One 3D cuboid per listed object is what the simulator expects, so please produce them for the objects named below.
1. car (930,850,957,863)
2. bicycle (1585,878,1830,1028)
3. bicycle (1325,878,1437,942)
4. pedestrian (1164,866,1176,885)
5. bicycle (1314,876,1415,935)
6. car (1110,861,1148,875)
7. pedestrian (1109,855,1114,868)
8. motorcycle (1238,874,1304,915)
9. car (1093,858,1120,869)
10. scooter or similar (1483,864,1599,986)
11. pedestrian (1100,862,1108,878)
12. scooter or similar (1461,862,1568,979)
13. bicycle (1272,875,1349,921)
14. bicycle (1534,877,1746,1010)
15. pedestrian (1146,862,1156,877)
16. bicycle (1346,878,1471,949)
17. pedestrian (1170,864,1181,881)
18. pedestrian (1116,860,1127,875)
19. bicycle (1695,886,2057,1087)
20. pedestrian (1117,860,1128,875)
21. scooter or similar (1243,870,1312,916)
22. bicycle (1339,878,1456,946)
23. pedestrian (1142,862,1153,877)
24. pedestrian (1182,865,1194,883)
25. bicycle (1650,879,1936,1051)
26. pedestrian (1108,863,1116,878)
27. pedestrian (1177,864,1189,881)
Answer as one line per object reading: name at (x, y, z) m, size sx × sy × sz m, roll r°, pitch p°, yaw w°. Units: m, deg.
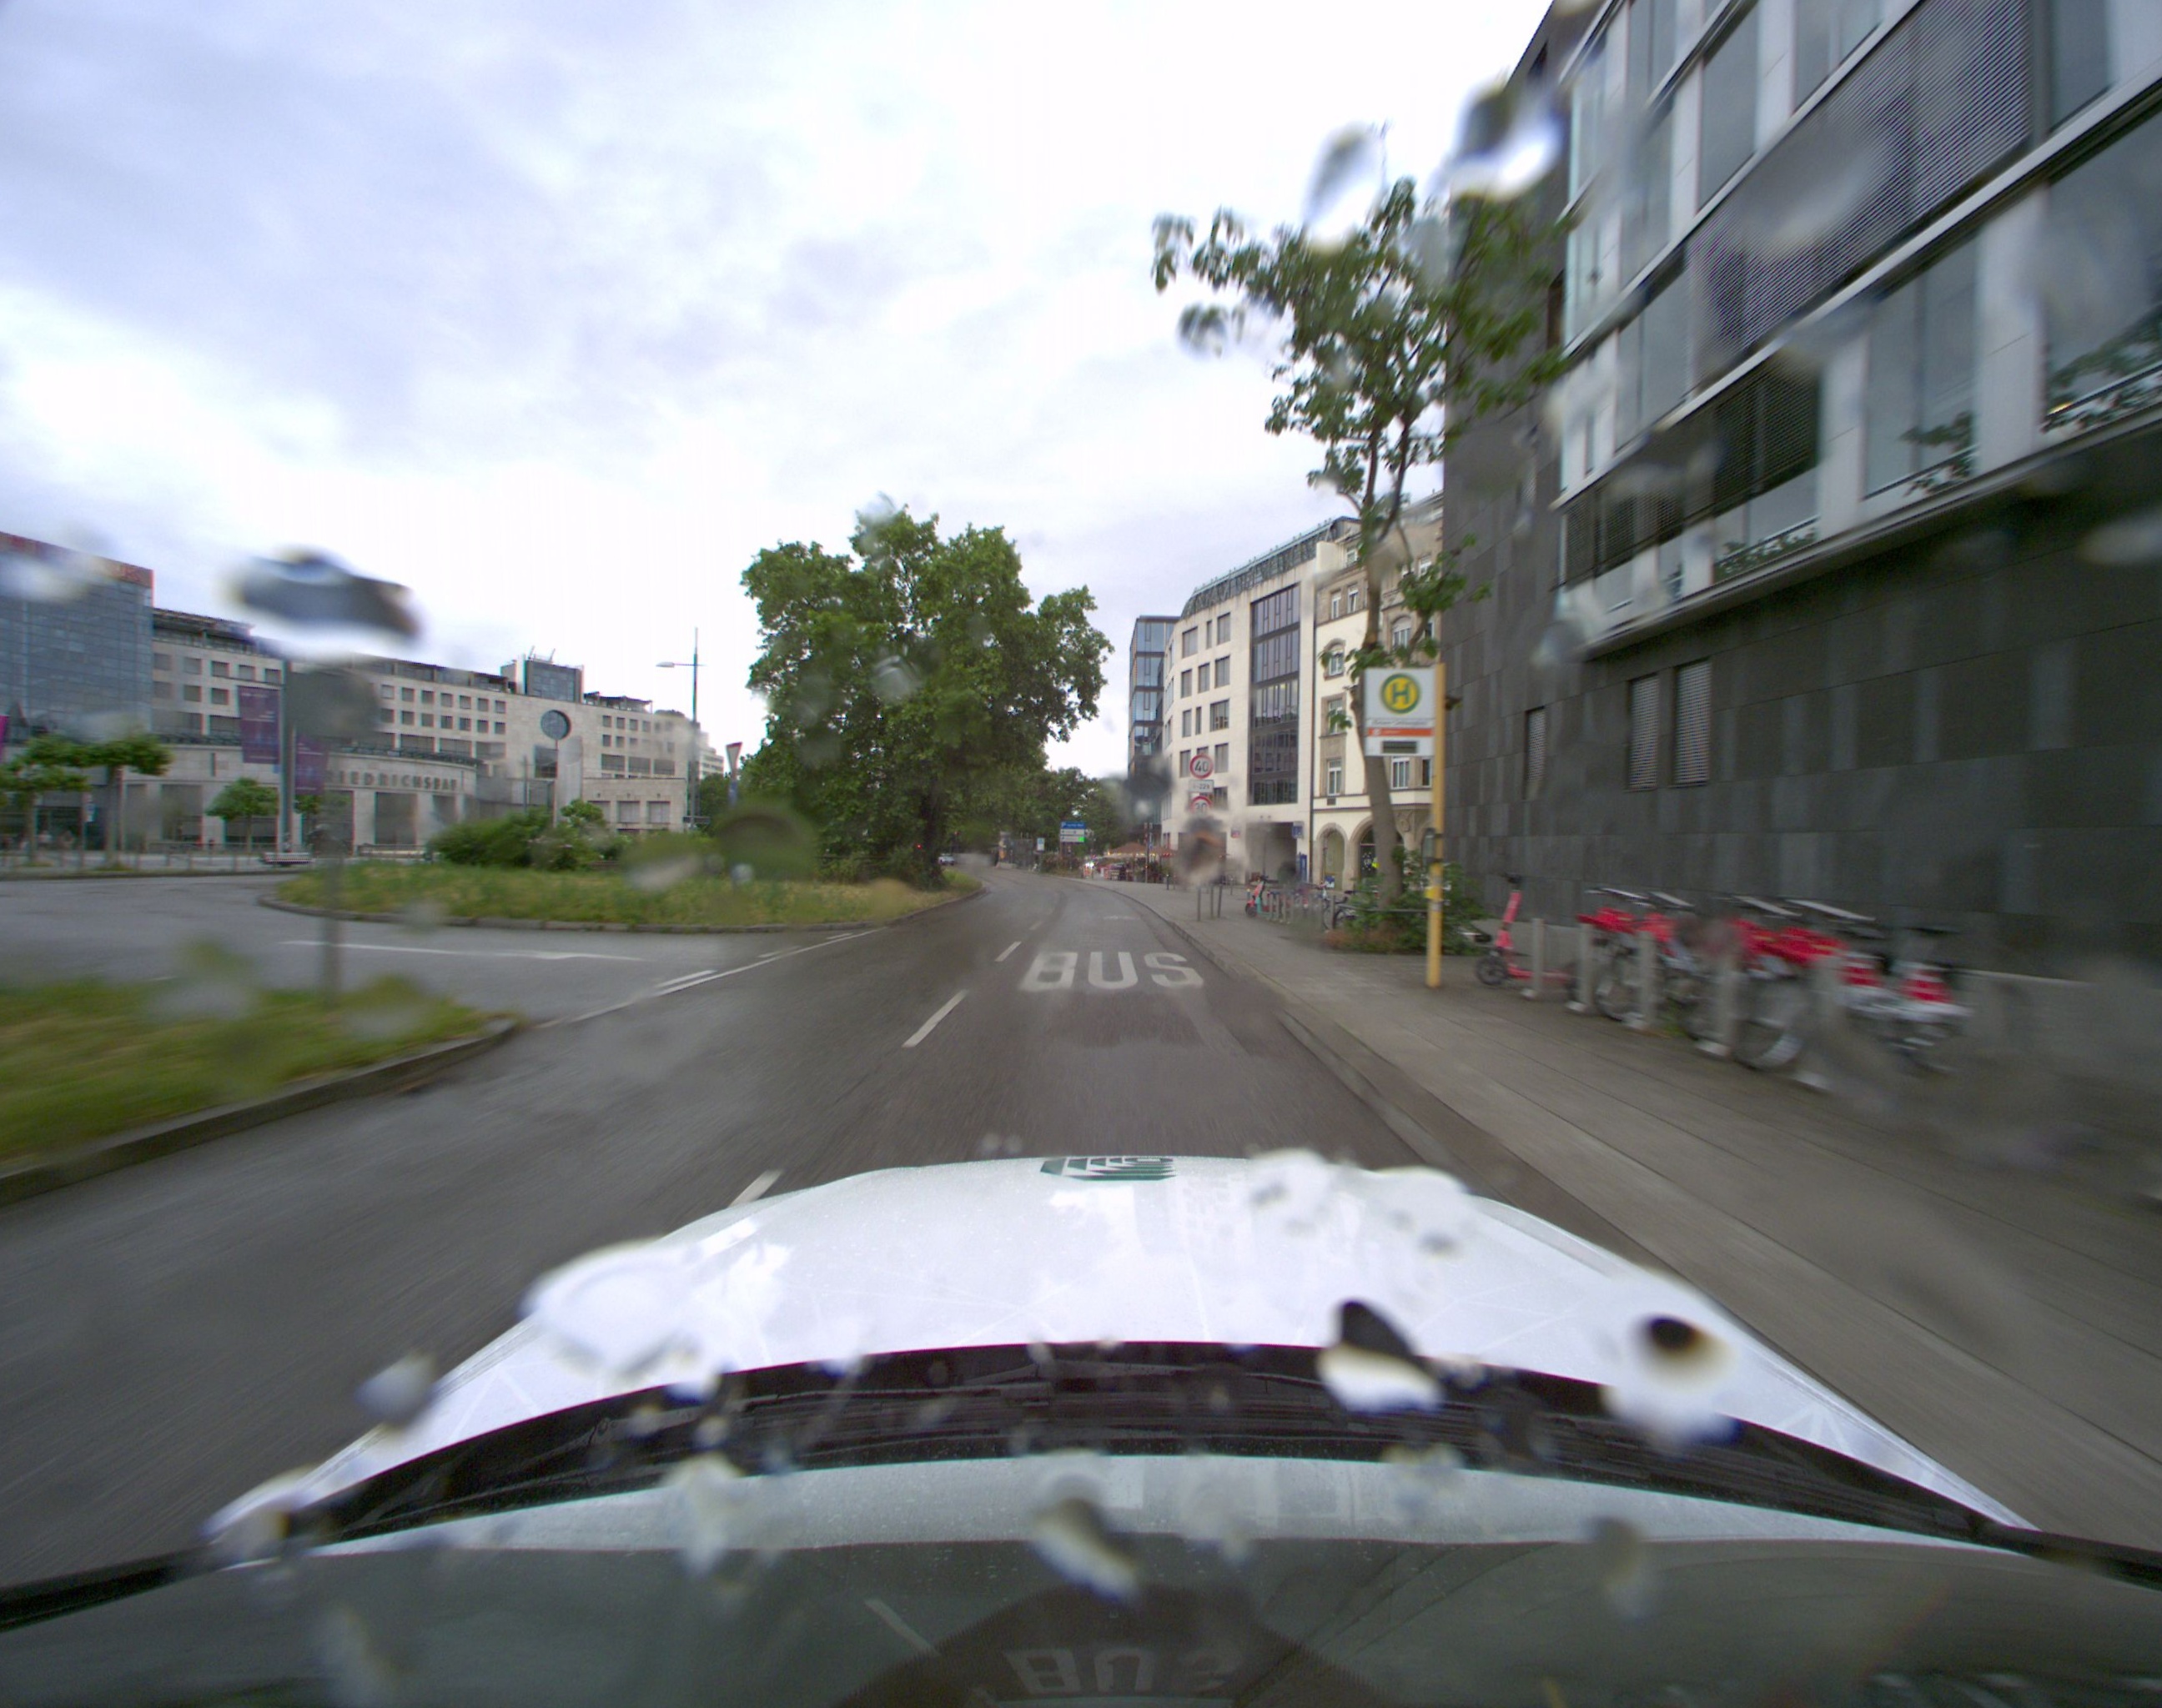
car at (-19.064, 0.339, 112.803) m, size 1.962 × 1.666 × 4.297 m, roll 2°, pitch -1°, yaw -36°
bicycle at (5.073, 0.774, 6.648) m, size 1.532 × 1.140 × 0.688 m, roll 1°, pitch -2°, yaw -5°
bicycle at (5.384, 0.995, 14.650) m, size 1.790 × 1.068 × 0.555 m, roll 2°, pitch -2°, yaw -4°
pedestrian at (6.487, 1.578, 59.432) m, size 0.772 × 1.326 × 0.635 m, roll 3°, pitch -1°, yaw -4°
bicycle at (5.708, 1.031, 16.461) m, size 1.791 × 1.108 × 0.669 m, roll 2°, pitch -2°, yaw -5°
car at (6.116, 1.775, 103.616) m, size 4.719 × 1.691 × 2.005 m, roll 2°, pitch 0°, yaw 0°
pedestrian at (4.405, 1.118, 118.143) m, size 0.621 × 1.933 × 0.789 m, roll 2°, pitch -1°, yaw 7°
motorcycle at (5.614, 1.188, 24.154) m, size 1.789 × 1.140 × 0.595 m, roll 2°, pitch -2°, yaw -5°
car at (3.501, 1.308, 111.539) m, size 1.623 × 1.416 × 3.486 m, roll 3°, pitch -1°, yaw -43°
scooter or similar at (4.858, 0.743, 8.618) m, size 1.104 × 1.258 × 0.302 m, roll 1°, pitch -2°, yaw -6°
pedestrian at (2.094, 1.428, 72.777) m, size 0.604 × 1.326 × 0.567 m, roll 3°, pitch -1°, yaw -3°
scooter or similar at (4.769, 0.728, 8.981) m, size 1.059 × 1.258 × 0.302 m, roll 1°, pitch -2°, yaw -6°
bicycle at (5.972, 1.143, 21.239) m, size 1.791 × 1.108 × 0.669 m, roll 2°, pitch -2°, yaw -5°
bicycle at (5.082, 0.792, 7.454) m, size 1.532 × 1.140 × 0.661 m, roll 1°, pitch -2°, yaw -5°
pedestrian at (6.400, 1.413, 74.583) m, size 0.815 × 1.326 × 0.635 m, roll 3°, pitch -1°, yaw -3°
bicycle at (5.273, 0.949, 13.137) m, size 1.790 × 1.068 × 0.555 m, roll 2°, pitch -2°, yaw -4°
pedestrian at (7.630, 1.512, 65.735) m, size 0.629 × 1.326 × 0.631 m, roll 4°, pitch -1°, yaw -23°
pedestrian at (3.752, 1.285, 75.553) m, size 0.815 × 1.326 × 0.635 m, roll 3°, pitch -1°, yaw -3°
bicycle at (4.924, 0.787, 5.110) m, size 1.703 × 1.140 × 0.688 m, roll 1°, pitch -2°, yaw -6°
pedestrian at (3.816, 1.265, 74.809) m, size 0.815 × 1.326 × 0.635 m, roll 3°, pitch -1°, yaw -3°
scooter or similar at (5.592, 1.106, 23.210) m, size 1.789 × 1.243 × 0.595 m, roll 2°, pitch -2°, yaw -5°
bicycle at (5.425, 0.988, 13.978) m, size 1.790 × 1.068 × 0.555 m, roll 2°, pitch -2°, yaw -4°
pedestrian at (6.174, 1.405, 75.504) m, size 0.815 × 1.326 × 0.635 m, roll 3°, pitch -1°, yaw -3°
pedestrian at (8.375, 1.563, 63.693) m, size 0.629 × 1.326 × 0.631 m, roll 4°, pitch -1°, yaw -23°
bicycle at (5.074, 0.763, 5.863) m, size 1.532 × 1.140 × 0.688 m, roll 1°, pitch -2°, yaw -5°
pedestrian at (2.805, 1.484, 72.797) m, size 0.604 × 1.326 × 0.567 m, roll 3°, pitch -1°, yaw -3°
pedestrian at (8.091, 1.489, 64.506) m, size 0.629 × 1.326 × 0.631 m, roll 4°, pitch -1°, yaw -23°
